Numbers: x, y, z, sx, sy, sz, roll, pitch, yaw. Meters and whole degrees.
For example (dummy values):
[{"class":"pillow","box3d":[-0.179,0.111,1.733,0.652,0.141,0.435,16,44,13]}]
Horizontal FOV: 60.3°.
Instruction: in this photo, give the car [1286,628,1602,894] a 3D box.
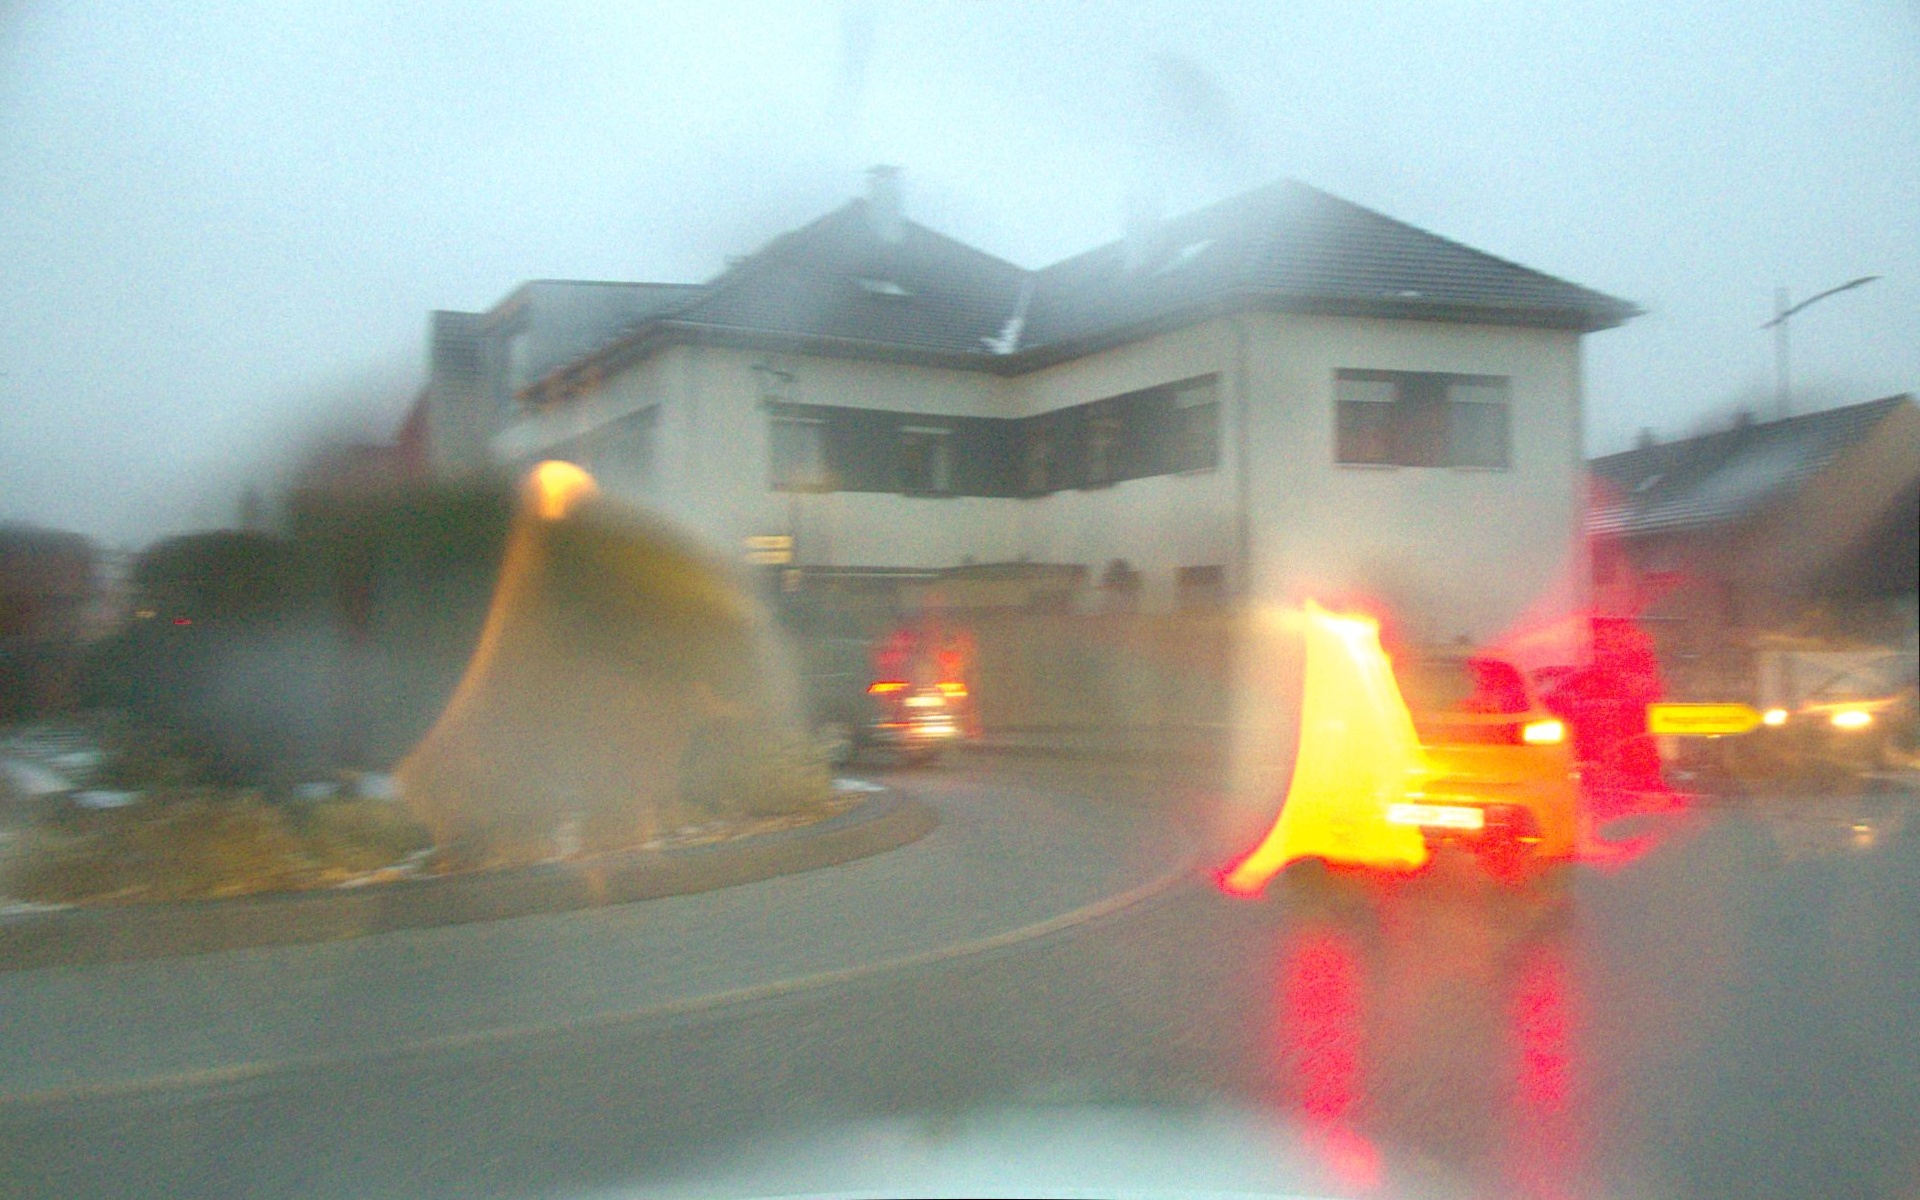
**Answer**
[{"class":"car","box3d":[3.085,0.954,11.232,1.673,1.447,4.015,0,-2,11]}]

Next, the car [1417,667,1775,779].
[{"class":"car","box3d":[8.472,1.628,22.182,4.147,1.408,1.845,1,-4,-12]}]

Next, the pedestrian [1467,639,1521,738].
[{"class":"pedestrian","box3d":[9.026,1.494,27.978,0.701,1.650,0.582,0,-1,-5]}]

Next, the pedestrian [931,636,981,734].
[{"class":"pedestrian","box3d":[-0.065,1.394,27.484,0.675,1.592,0.610,0,-1,19]}]

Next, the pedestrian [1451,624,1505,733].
[{"class":"pedestrian","box3d":[9.007,1.353,28.770,0.701,1.864,0.637,0,0,-5]}]

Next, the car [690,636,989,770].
[{"class":"car","box3d":[-1.692,1.316,22.497,3.878,1.643,1.911,-1,-1,41]}]

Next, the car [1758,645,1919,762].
[{"class":"car","box3d":[13.649,1.462,23.648,3.923,1.579,1.689,1,-3,-17]}]

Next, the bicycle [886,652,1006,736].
[{"class":"bicycle","box3d":[-0.232,1.526,27.121,1.896,1.318,0.551,0,0,20]}]
